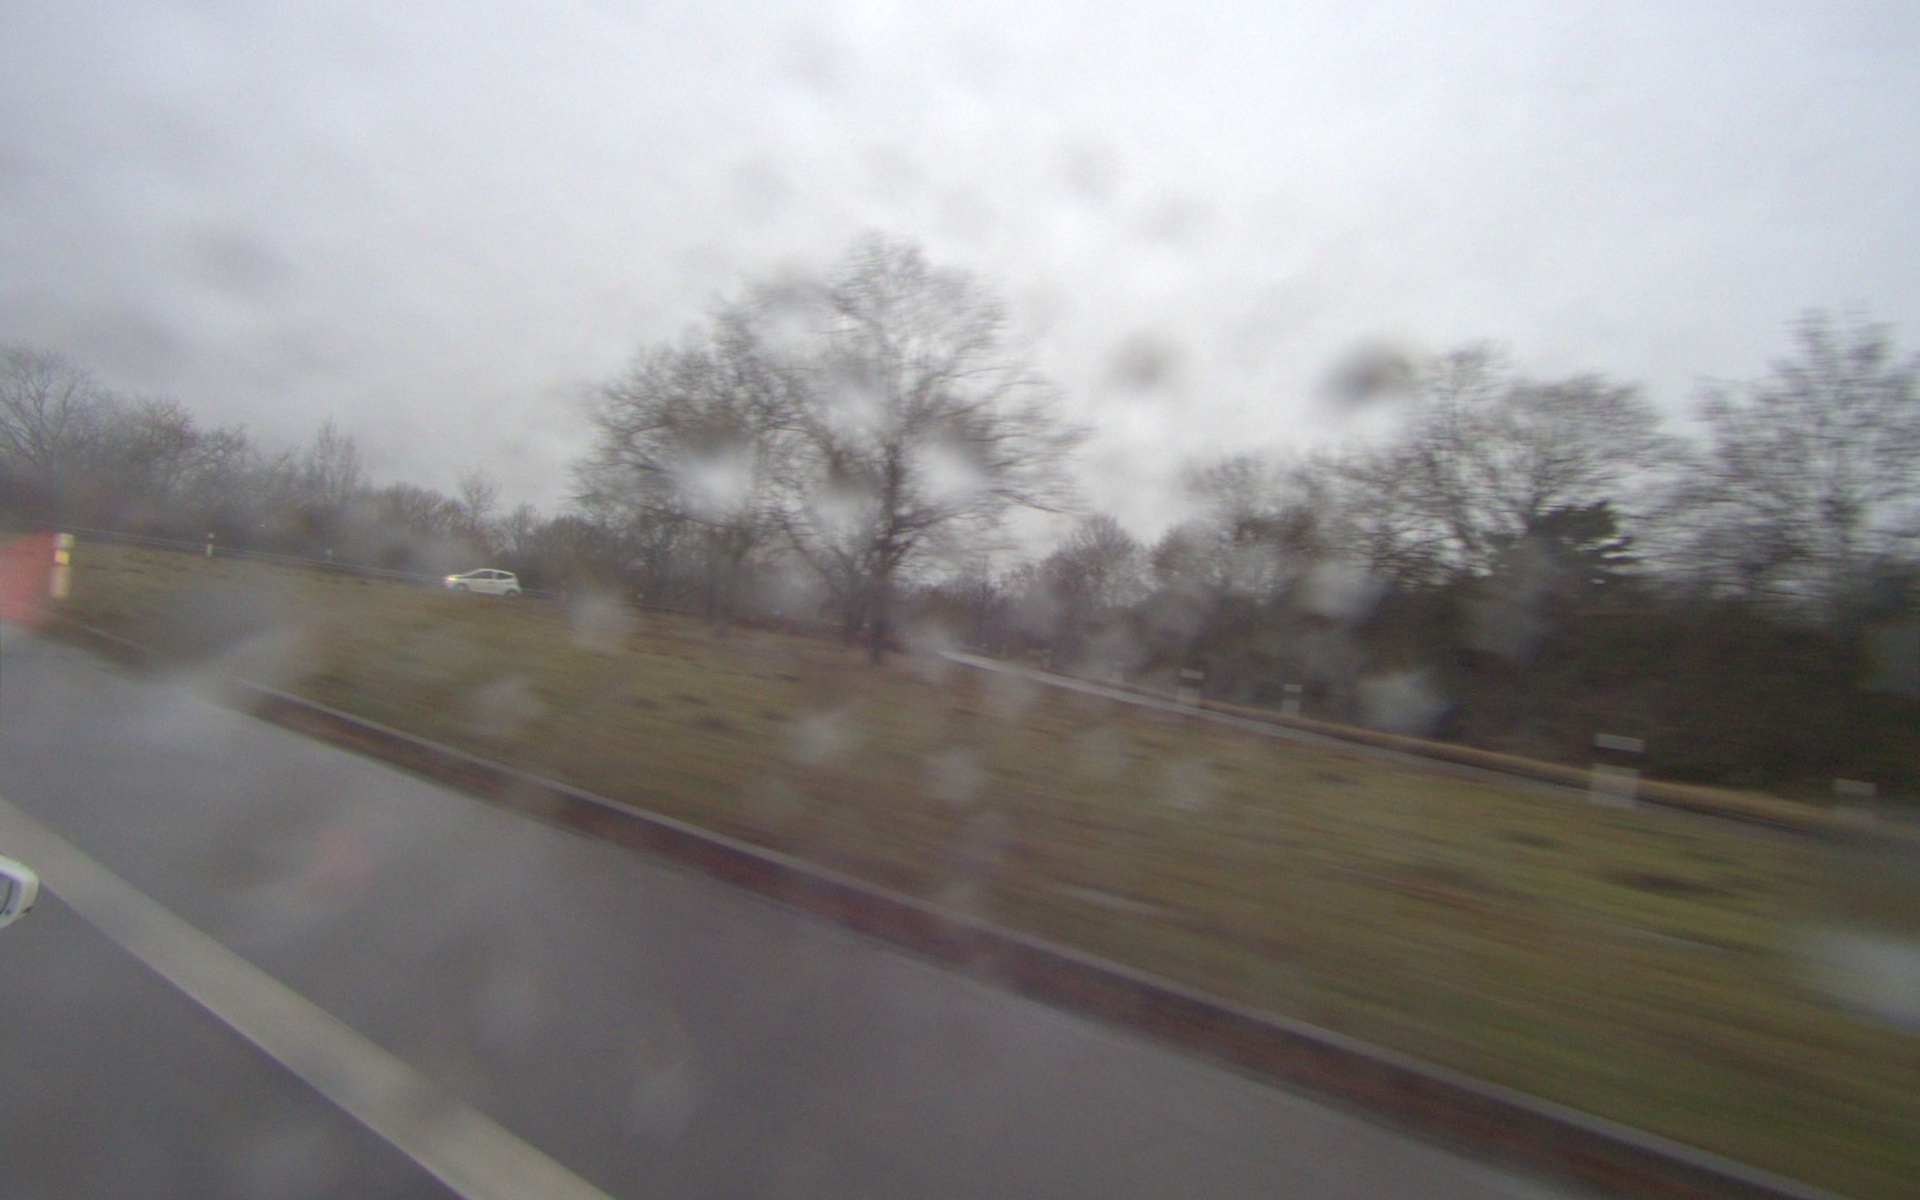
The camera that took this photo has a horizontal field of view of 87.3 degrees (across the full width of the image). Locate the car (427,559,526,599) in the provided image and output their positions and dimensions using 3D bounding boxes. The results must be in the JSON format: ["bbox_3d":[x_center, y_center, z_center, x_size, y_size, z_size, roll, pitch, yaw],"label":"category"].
[{"bbox_3d":[-23.652,-1.017,49.228,3.967,1.361,1.980,8,-1,-37],"label":"car"}]
